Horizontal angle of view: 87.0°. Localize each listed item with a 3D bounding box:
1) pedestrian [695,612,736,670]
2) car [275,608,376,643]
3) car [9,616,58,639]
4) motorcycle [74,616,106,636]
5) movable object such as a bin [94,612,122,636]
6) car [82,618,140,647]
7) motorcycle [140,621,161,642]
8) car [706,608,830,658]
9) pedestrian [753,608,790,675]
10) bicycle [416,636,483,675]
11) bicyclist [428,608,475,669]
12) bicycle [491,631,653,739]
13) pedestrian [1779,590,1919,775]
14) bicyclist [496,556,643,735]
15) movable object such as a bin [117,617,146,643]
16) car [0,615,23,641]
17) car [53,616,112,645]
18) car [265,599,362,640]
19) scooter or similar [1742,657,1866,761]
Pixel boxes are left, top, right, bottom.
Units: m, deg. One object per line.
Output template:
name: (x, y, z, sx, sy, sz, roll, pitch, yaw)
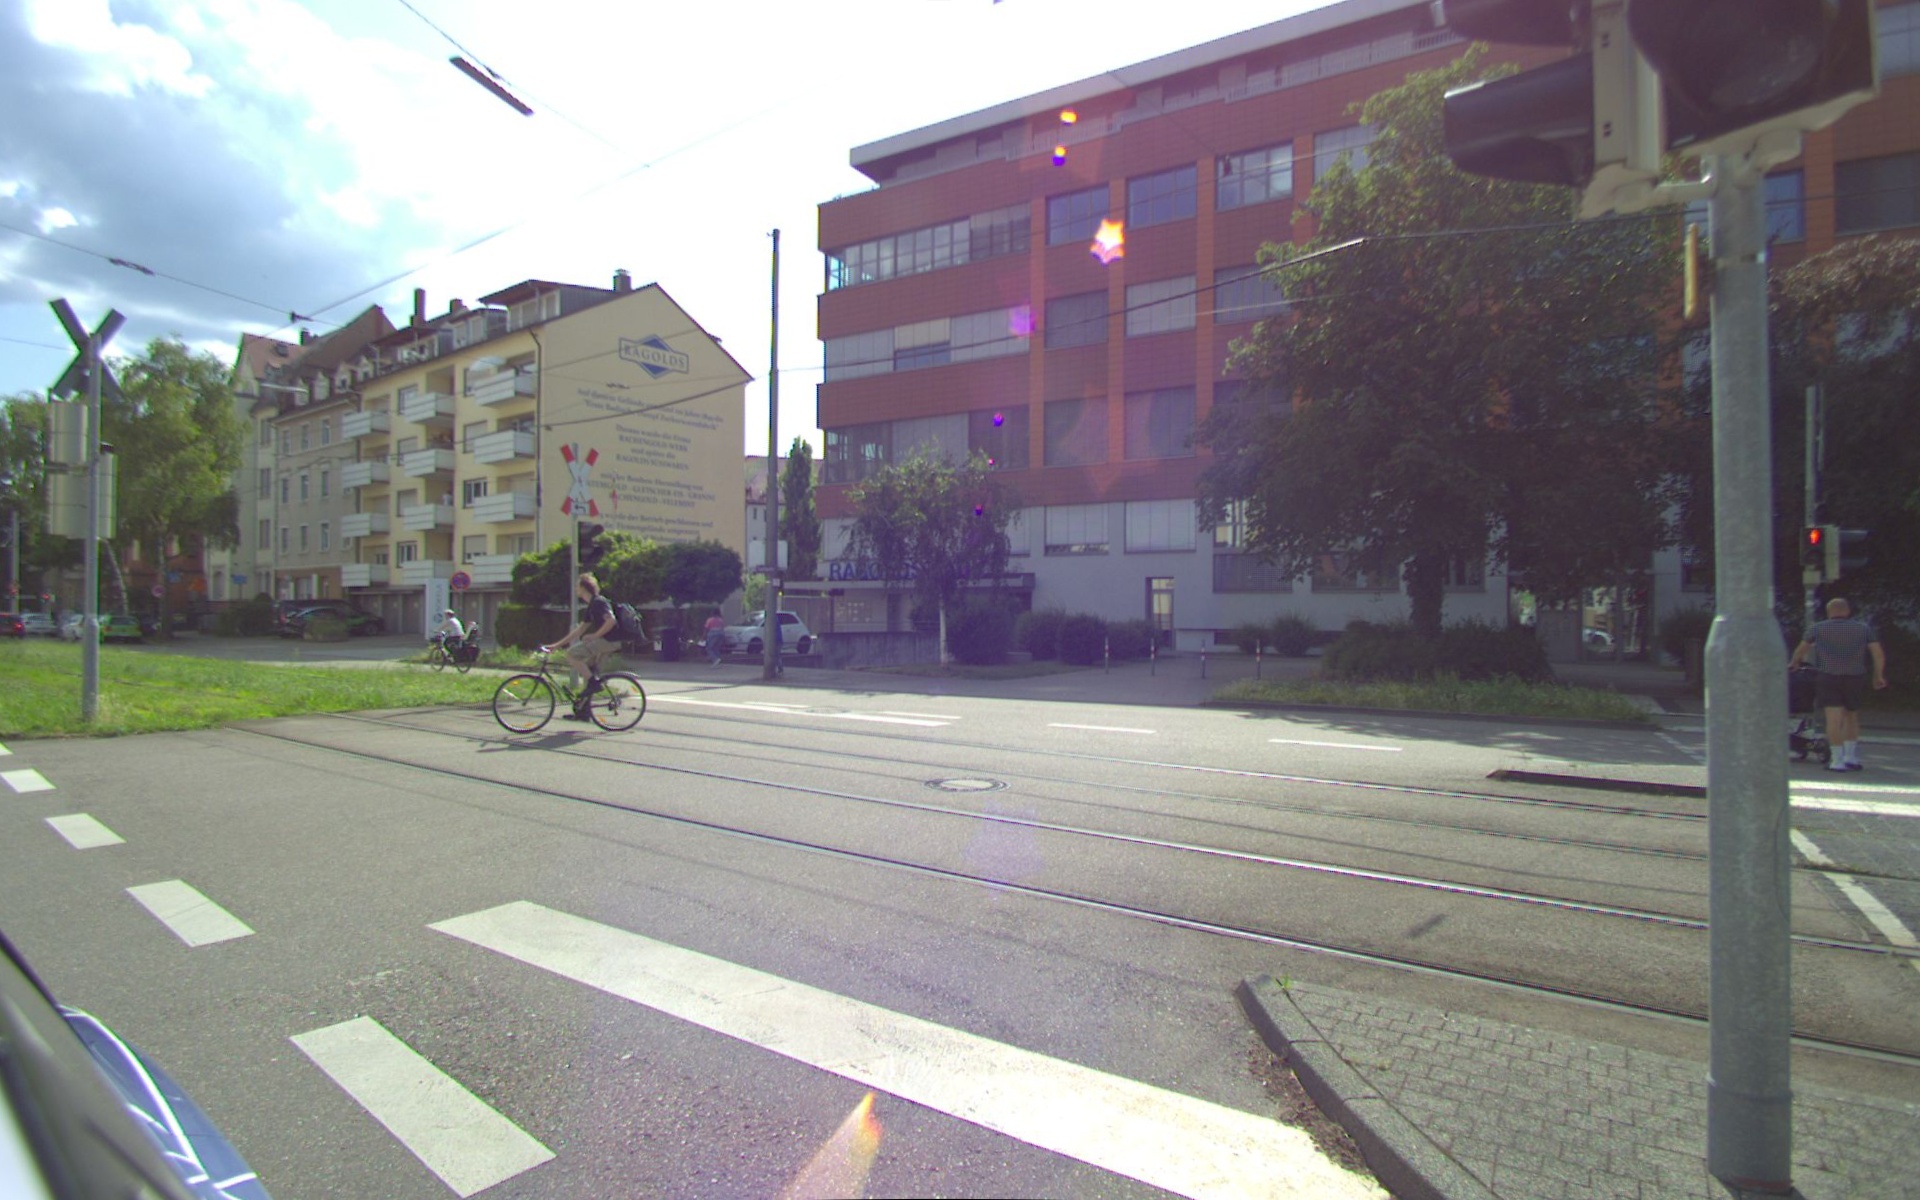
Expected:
pedestrian: (-6.848, 1.149, 28.346, 0.889, 1.586, 0.737, -1, -3, 40)
car: (-32.382, 1.272, 51.699, 1.970, 1.614, 3.949, -1, 0, 38)
car: (-57.924, 1.727, 63.255, 3.991, 1.366, 1.737, -1, -2, 40)
motorcycle: (-54.293, 1.614, 63.174, 2.287, 1.252, 0.893, -1, -1, 32)
movable object such as a bin: (-51.937, 1.474, 61.692, 1.519, 1.377, 0.942, -1, 3, 37)
car: (-43.389, 1.640, 51.725, 3.610, 1.443, 1.578, -1, -2, 39)
motorcycle: (-43.628, 1.696, 54.554, 1.630, 1.050, 0.494, 1, 3, 38)
car: (-6.544, 1.106, 34.886, 1.995, 1.608, 3.953, -1, -1, 35)
pedestrian: (-4.802, 1.051, 25.752, 0.746, 1.669, 0.551, 0, -1, 40)
bicycle: (-13.737, 1.482, 27.228, 2.174, 0.978, 0.674, -1, -2, 36)
bicyclist: (-13.619, 1.024, 27.112, 0.862, 1.594, 0.778, -1, -2, 35)
bicycle: (-4.696, 0.981, 12.234, 1.757, 1.187, 1.161, 0, -2, -24)
pedestrian: (9.157, 0.818, 10.371, 0.999, 1.789, 0.865, 0, -3, 29)
bicyclist: (-4.685, 0.544, 12.201, 1.549, 2.029, 0.953, 1, -2, -21)
movable object such as a bin: (-47.002, 1.703, 57.388, 1.519, 1.440, 0.942, -1, 1, 37)
car: (-53.857, 1.546, 56.585, 3.688, 1.397, 1.563, -1, -2, 39)
car: (-47.569, 1.629, 54.858, 4.220, 1.489, 1.628, -1, -3, 39)
car: (-34.239, 1.004, 53.688, 1.936, 2.029, 3.945, -1, 0, 41)
scooter or similar: (9.370, 1.185, 11.279, 0.792, 1.073, 0.950, 0, -3, 23)
